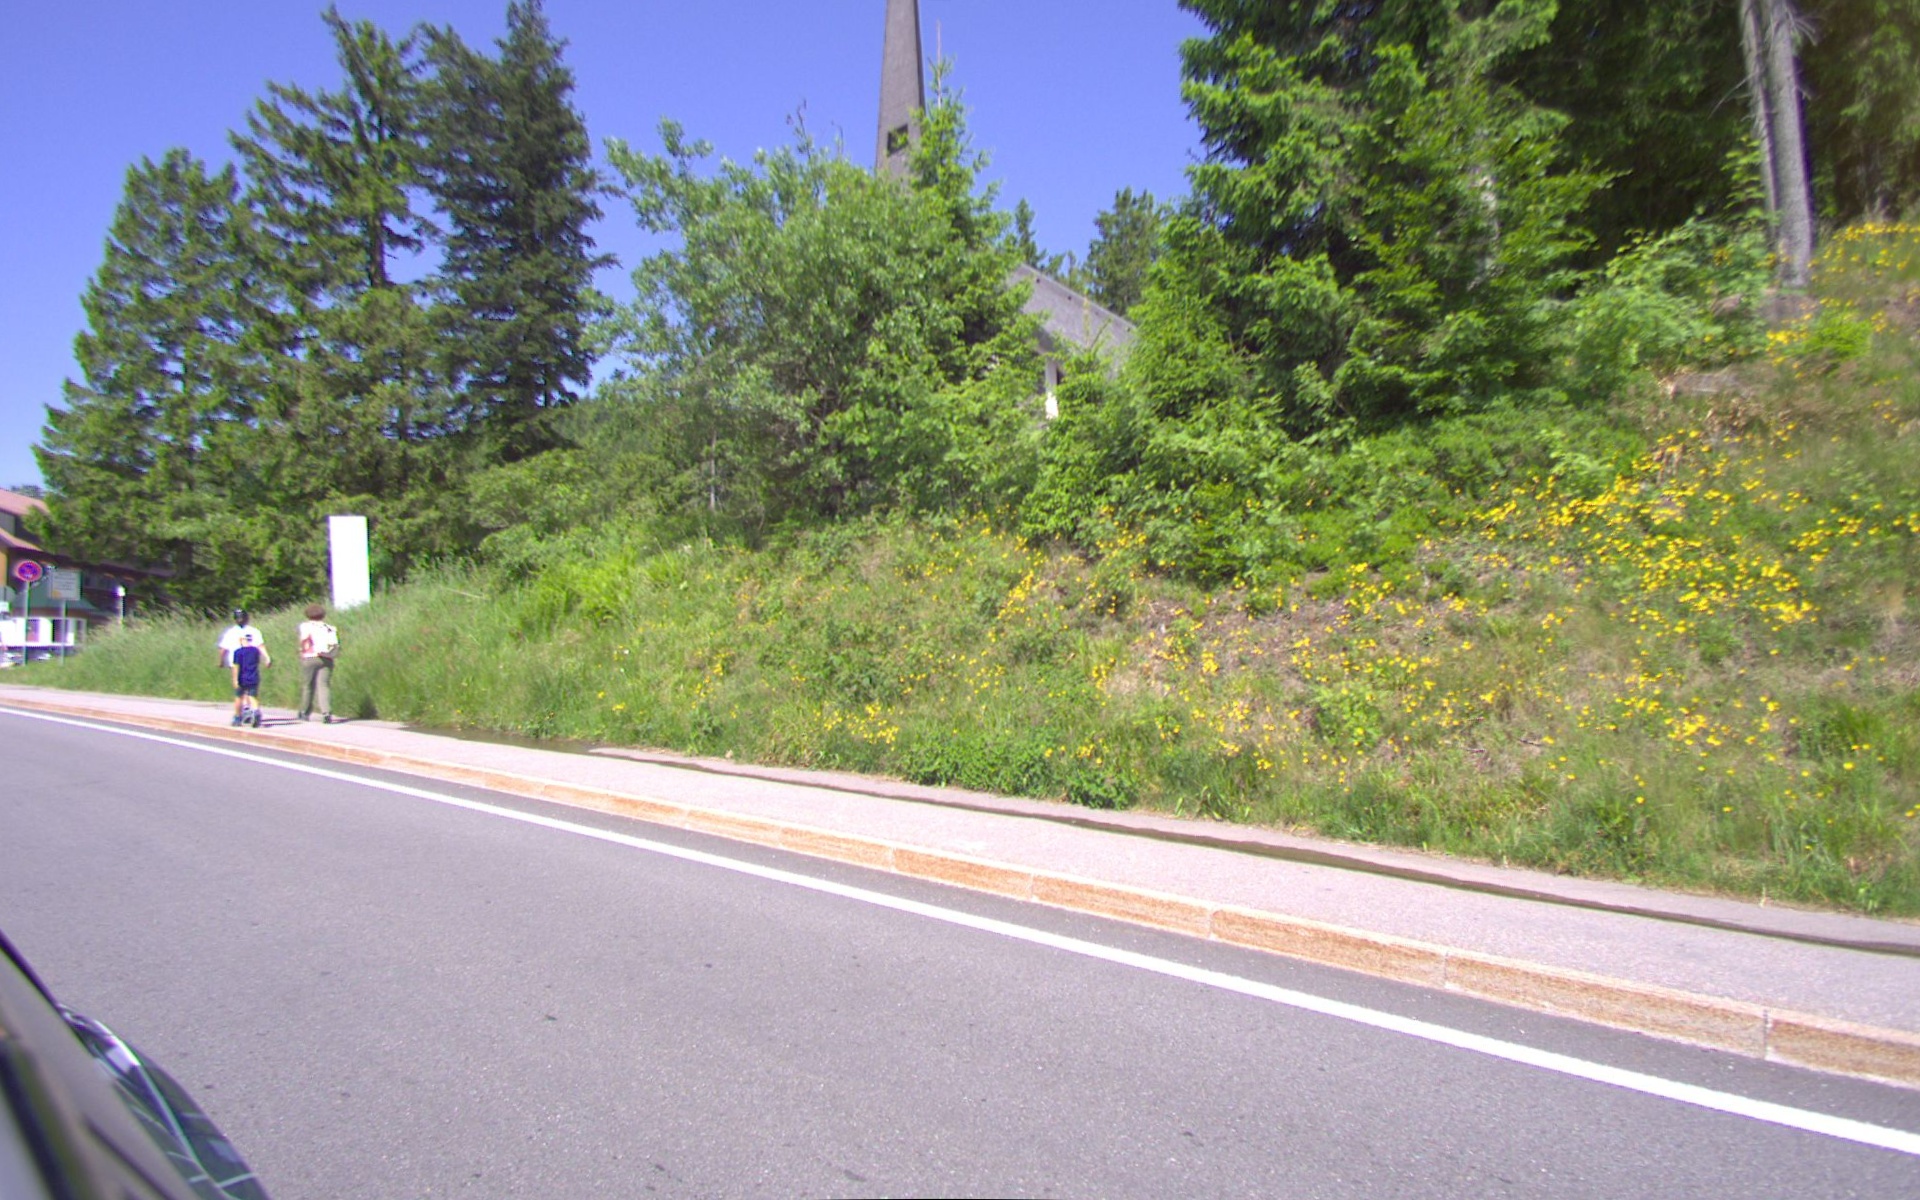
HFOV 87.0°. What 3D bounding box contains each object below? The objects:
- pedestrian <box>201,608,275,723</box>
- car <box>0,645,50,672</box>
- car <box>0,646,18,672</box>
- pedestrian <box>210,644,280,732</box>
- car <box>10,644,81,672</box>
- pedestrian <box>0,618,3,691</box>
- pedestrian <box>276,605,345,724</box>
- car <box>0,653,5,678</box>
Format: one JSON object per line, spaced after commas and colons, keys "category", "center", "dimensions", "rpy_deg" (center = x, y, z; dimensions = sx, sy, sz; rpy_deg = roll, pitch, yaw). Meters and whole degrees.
{"category": "pedestrian", "center": [-10.113, 0.904, 14.180], "dimensions": [0.878, 1.549, 0.575], "rpy_deg": [-2, -3, 36]}
{"category": "car", "center": [-51.535, 3.165, 55.220], "dimensions": [1.689, 1.445, 3.326], "rpy_deg": [0, -2, -21]}
{"category": "car", "center": [-54.562, 3.314, 56.595], "dimensions": [1.612, 1.445, 3.326], "rpy_deg": [0, -3, -21]}
{"category": "pedestrian", "center": [-9.429, 1.142, 13.349], "dimensions": [0.744, 1.110, 0.563], "rpy_deg": [-2, -3, 39]}
{"category": "car", "center": [-48.985, 3.097, 54.263], "dimensions": [1.683, 1.406, 3.326], "rpy_deg": [0, -3, -21]}
{"category": "pedestrian", "center": [-23.668, 1.315, 24.466], "dimensions": [0.684, 1.755, 0.575], "rpy_deg": [-2, -3, 29]}
{"category": "pedestrian", "center": [-9.389, 0.913, 14.623], "dimensions": [0.893, 1.655, 0.570], "rpy_deg": [-2, -3, 39]}
{"category": "car", "center": [-57.141, 3.846, 58.435], "dimensions": [1.702, 1.476, 3.532], "rpy_deg": [0, -1, -22]}
